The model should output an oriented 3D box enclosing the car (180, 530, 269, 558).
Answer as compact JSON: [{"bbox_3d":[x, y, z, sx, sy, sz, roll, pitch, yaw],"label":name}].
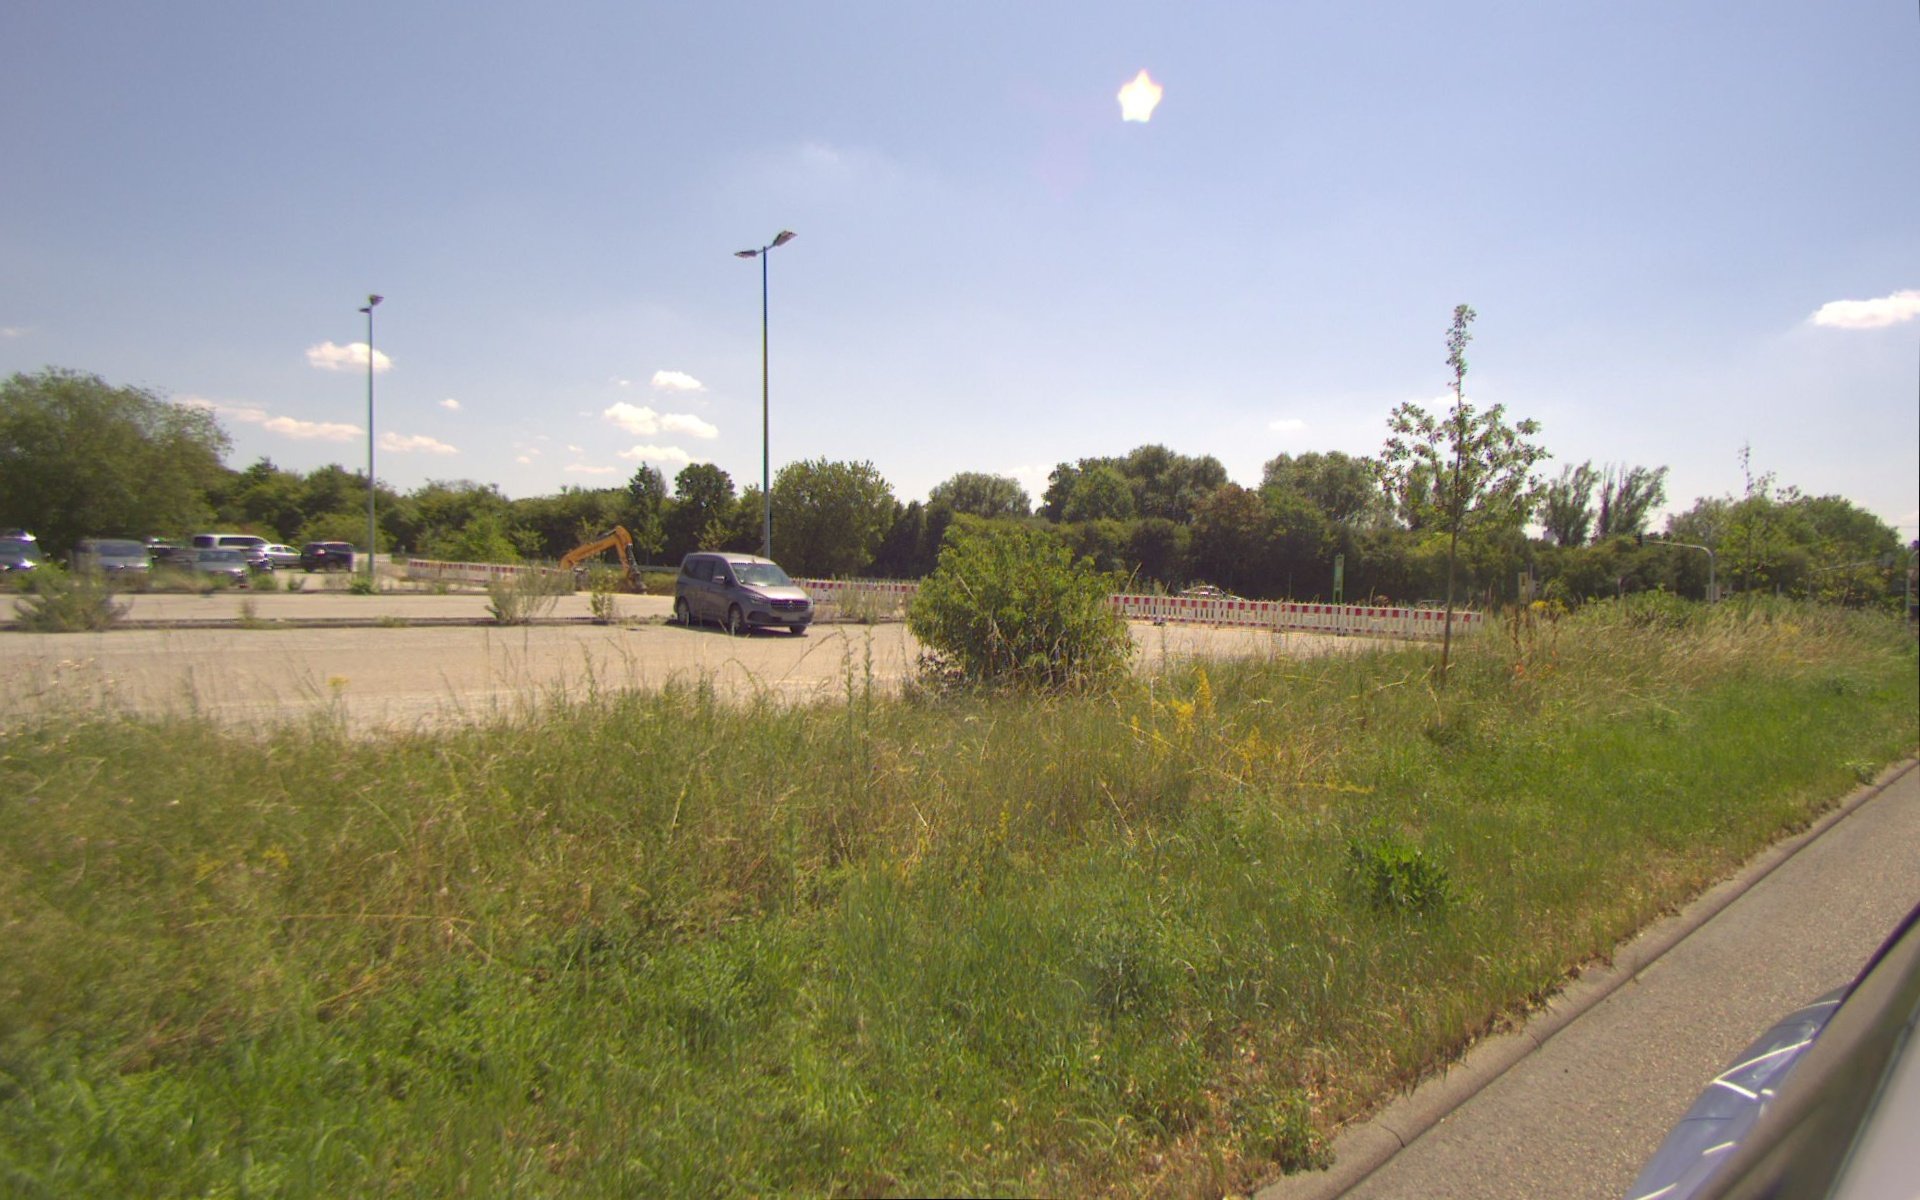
[{"bbox_3d":[-43.488,-3.290,59.941,1.850,1.548,3.980,2,2,16],"label":"car"}]

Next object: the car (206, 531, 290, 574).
[{"bbox_3d":[-32.140,-2.137,45.635,3.981,1.660,1.972,4,0,38],"label":"car"}]

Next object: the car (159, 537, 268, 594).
[{"bbox_3d":[-25.679,-1.195,34.767,3.981,1.660,1.972,4,0,38],"label":"car"}]

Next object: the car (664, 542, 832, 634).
[{"bbox_3d":[-5.135,-0.338,24.072,1.906,1.938,4.471,2,2,-41],"label":"car"}]

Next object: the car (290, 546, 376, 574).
[{"bbox_3d":[-35.642,-2.260,57.620,1.850,1.548,3.980,2,2,16],"label":"car"}]

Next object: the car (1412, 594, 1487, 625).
[{"bbox_3d":[31.726,0.614,65.662,3.932,1.660,1.778,4,0,7],"label":"car"}]

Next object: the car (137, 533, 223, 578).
[{"bbox_3d":[-33.717,-1.943,43.700,3.981,1.660,1.972,4,0,38],"label":"car"}]

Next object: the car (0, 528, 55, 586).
[{"bbox_3d":[-30.284,-1.424,31.854,3.981,1.660,1.972,4,0,38],"label":"car"}]

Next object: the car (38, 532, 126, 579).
[{"bbox_3d":[-36.086,-1.849,41.585,3.981,1.660,1.972,4,0,38],"label":"car"}]

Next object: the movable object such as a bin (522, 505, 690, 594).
[{"bbox_3d":[-18.803,-2.652,53.883,7.991,4.095,2.973,4,0,15],"label":"movable object such as a bin"}]

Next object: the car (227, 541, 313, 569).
[{"bbox_3d":[-40.831,-2.651,59.969,1.850,1.548,3.980,2,2,16],"label":"car"}]

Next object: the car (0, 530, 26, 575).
[{"bbox_3d":[-37.850,-1.931,39.079,3.981,1.660,1.972,4,0,38],"label":"car"}]

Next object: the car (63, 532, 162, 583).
[{"bbox_3d":[-28.042,-1.417,33.448,3.981,1.438,1.697,4,0,38],"label":"car"}]
